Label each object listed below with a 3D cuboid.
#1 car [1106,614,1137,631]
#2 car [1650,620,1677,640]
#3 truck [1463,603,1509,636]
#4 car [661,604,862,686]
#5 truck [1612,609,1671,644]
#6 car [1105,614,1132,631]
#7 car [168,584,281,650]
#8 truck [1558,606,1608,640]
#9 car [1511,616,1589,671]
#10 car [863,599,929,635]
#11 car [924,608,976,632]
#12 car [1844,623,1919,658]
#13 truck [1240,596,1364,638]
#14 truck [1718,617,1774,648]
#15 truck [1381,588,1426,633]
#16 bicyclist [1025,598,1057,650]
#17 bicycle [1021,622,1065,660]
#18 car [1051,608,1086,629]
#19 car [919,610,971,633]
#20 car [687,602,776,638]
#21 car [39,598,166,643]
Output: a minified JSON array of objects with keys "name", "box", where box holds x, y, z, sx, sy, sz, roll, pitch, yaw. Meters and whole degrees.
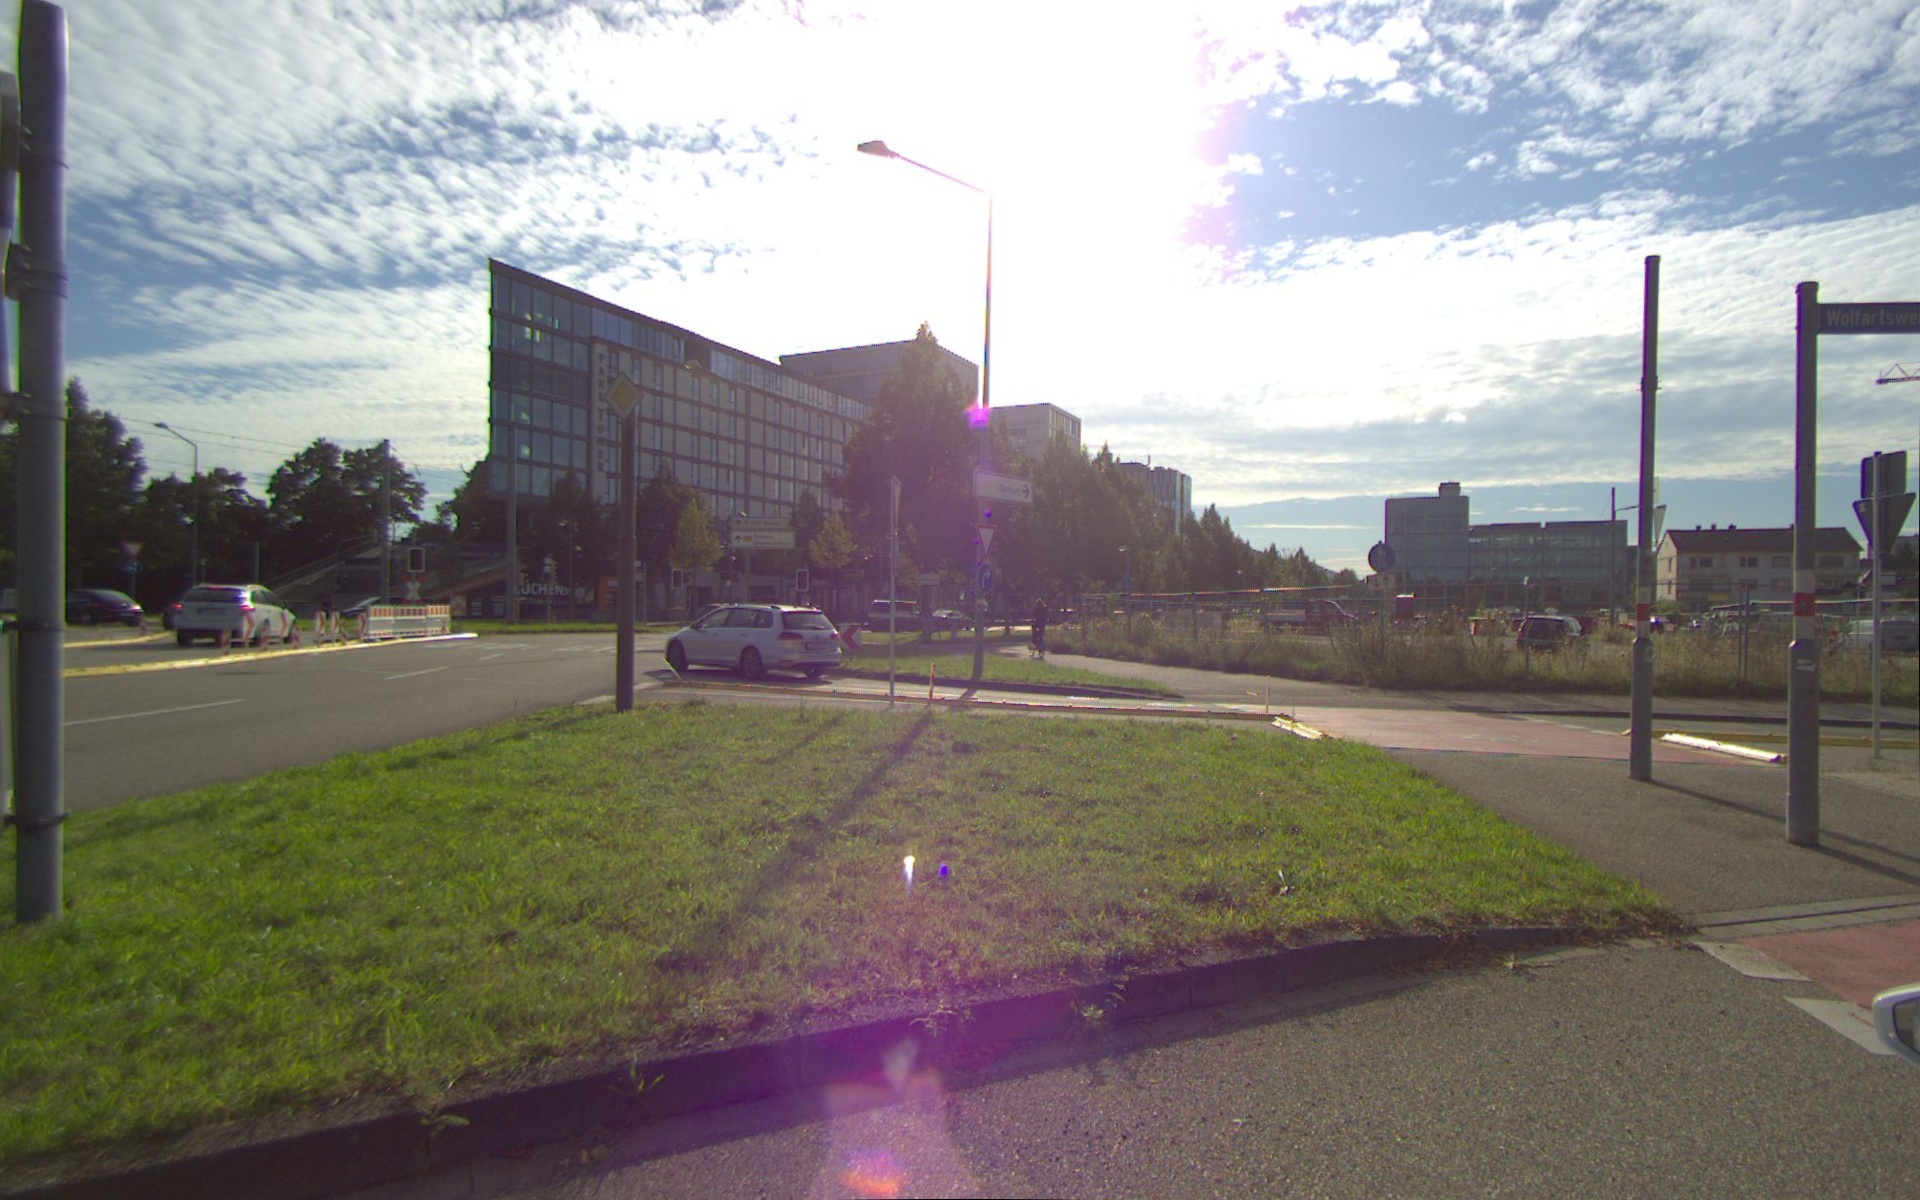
[{"name":"car","box":[16.288,2.277,101.083,1.866,1.632,4.657,1,0,25]},{"name":"car","box":[71.975,3.050,102.863,1.965,1.884,3.991,1,0,31]},{"name":"truck","box":[39.492,1.456,75.554,2.289,2.359,6.451,1,0,21]},{"name":"car","box":[-4.208,0.850,20.850,4.477,1.471,1.813,1,0,43]},{"name":"truck","box":[48.348,1.849,71.412,2.248,2.359,5.637,1,0,21]},{"name":"car","box":[15.925,2.233,100.684,1.864,1.632,4.661,1,0,20]},{"name":"car","box":[-18.438,0.372,25.371,1.836,1.464,4.599,3,-1,-31]},{"name":"truck","box":[45.361,1.660,73.237,2.023,2.359,5.637,1,0,21]},{"name":"car","box":[21.173,1.512,35.978,1.856,1.840,3.983,1,0,38]},{"name":"car","box":[-3.741,0.966,59.451,1.866,1.928,4.657,2,1,24]},{"name":"car","box":[-0.646,1.401,71.496,1.866,1.655,4.657,1,0,25]},{"name":"car","box":[51.715,2.230,56.416,1.849,1.840,3.998,1,0,23]},{"name":"truck","box":[23.411,1.128,68.789,7.712,2.601,3.072,1,0,25]},{"name":"truck","box":[59.507,2.399,76.138,1.942,2.200,5.403,1,0,23]},{"name":"truck","box":[34.141,0.805,77.472,2.762,3.250,7.314,1,0,21]},{"name":"bicyclist","box":[2.462,0.724,30.635,0.693,1.531,1.007,0,0,-14]},{"name":"bicycle","box":[2.504,1.222,30.578,0.693,1.077,2.199,0,0,-13]},{"name":"car","box":[10.323,1.746,95.046,1.866,1.928,4.657,1,0,25]},{"name":"car","box":[-1.032,1.509,71.477,1.866,1.450,4.656,2,1,25]},{"name":"car","box":[-11.170,1.019,49.423,1.960,1.587,4.846,2,-2,19]},{"name":"car","box":[-33.973,0.783,39.836,3.919,1.562,2.000,2,2,16]}]
